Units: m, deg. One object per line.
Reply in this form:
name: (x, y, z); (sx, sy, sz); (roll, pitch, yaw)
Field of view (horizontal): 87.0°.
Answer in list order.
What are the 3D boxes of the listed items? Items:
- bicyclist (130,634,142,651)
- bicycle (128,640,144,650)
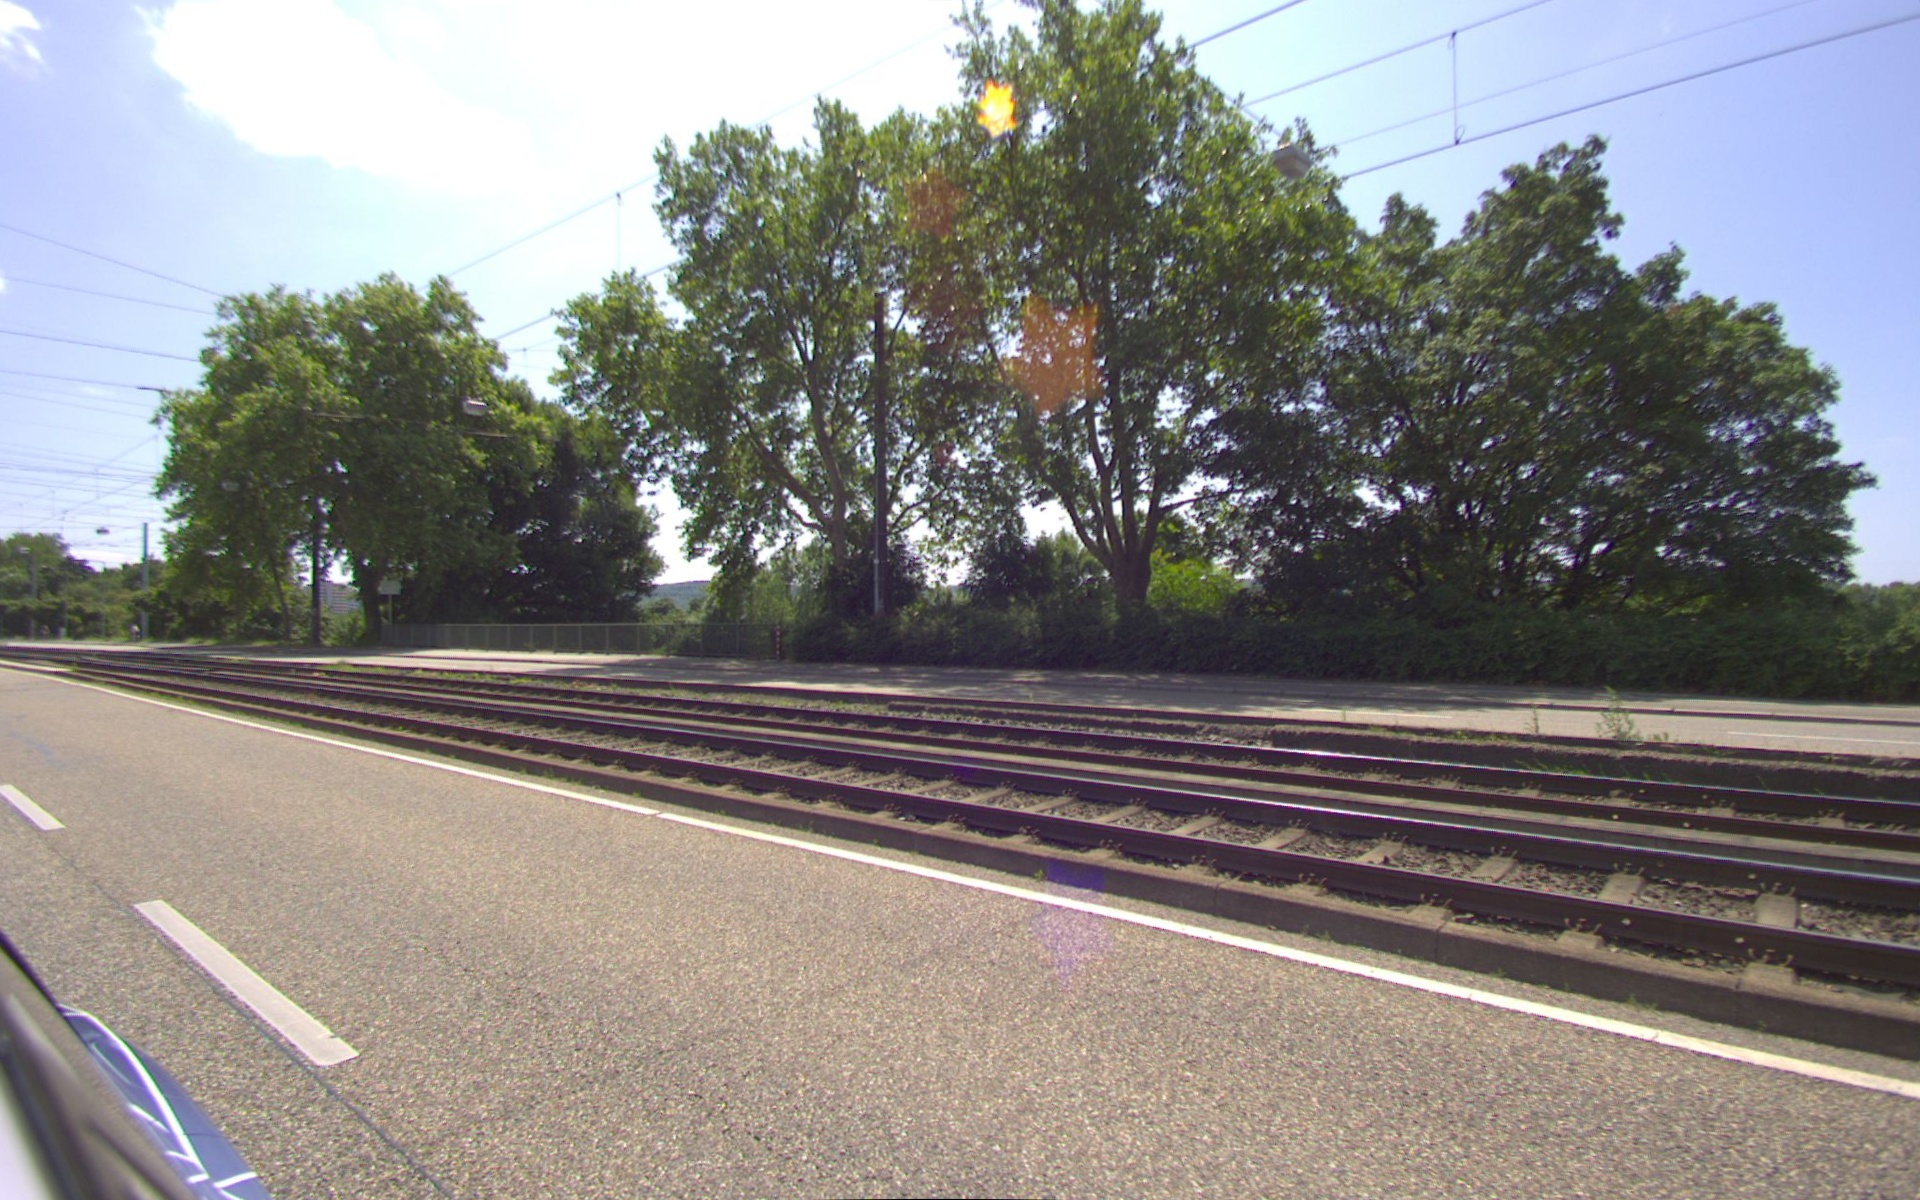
bicyclist: (-73.655, 3.819, 90.467); (0.917, 1.495, 0.704); (-2, -2, 39)
bicycle: (-73.660, 4.024, 90.477); (2.181, 0.924, 0.704); (-2, -2, 40)
